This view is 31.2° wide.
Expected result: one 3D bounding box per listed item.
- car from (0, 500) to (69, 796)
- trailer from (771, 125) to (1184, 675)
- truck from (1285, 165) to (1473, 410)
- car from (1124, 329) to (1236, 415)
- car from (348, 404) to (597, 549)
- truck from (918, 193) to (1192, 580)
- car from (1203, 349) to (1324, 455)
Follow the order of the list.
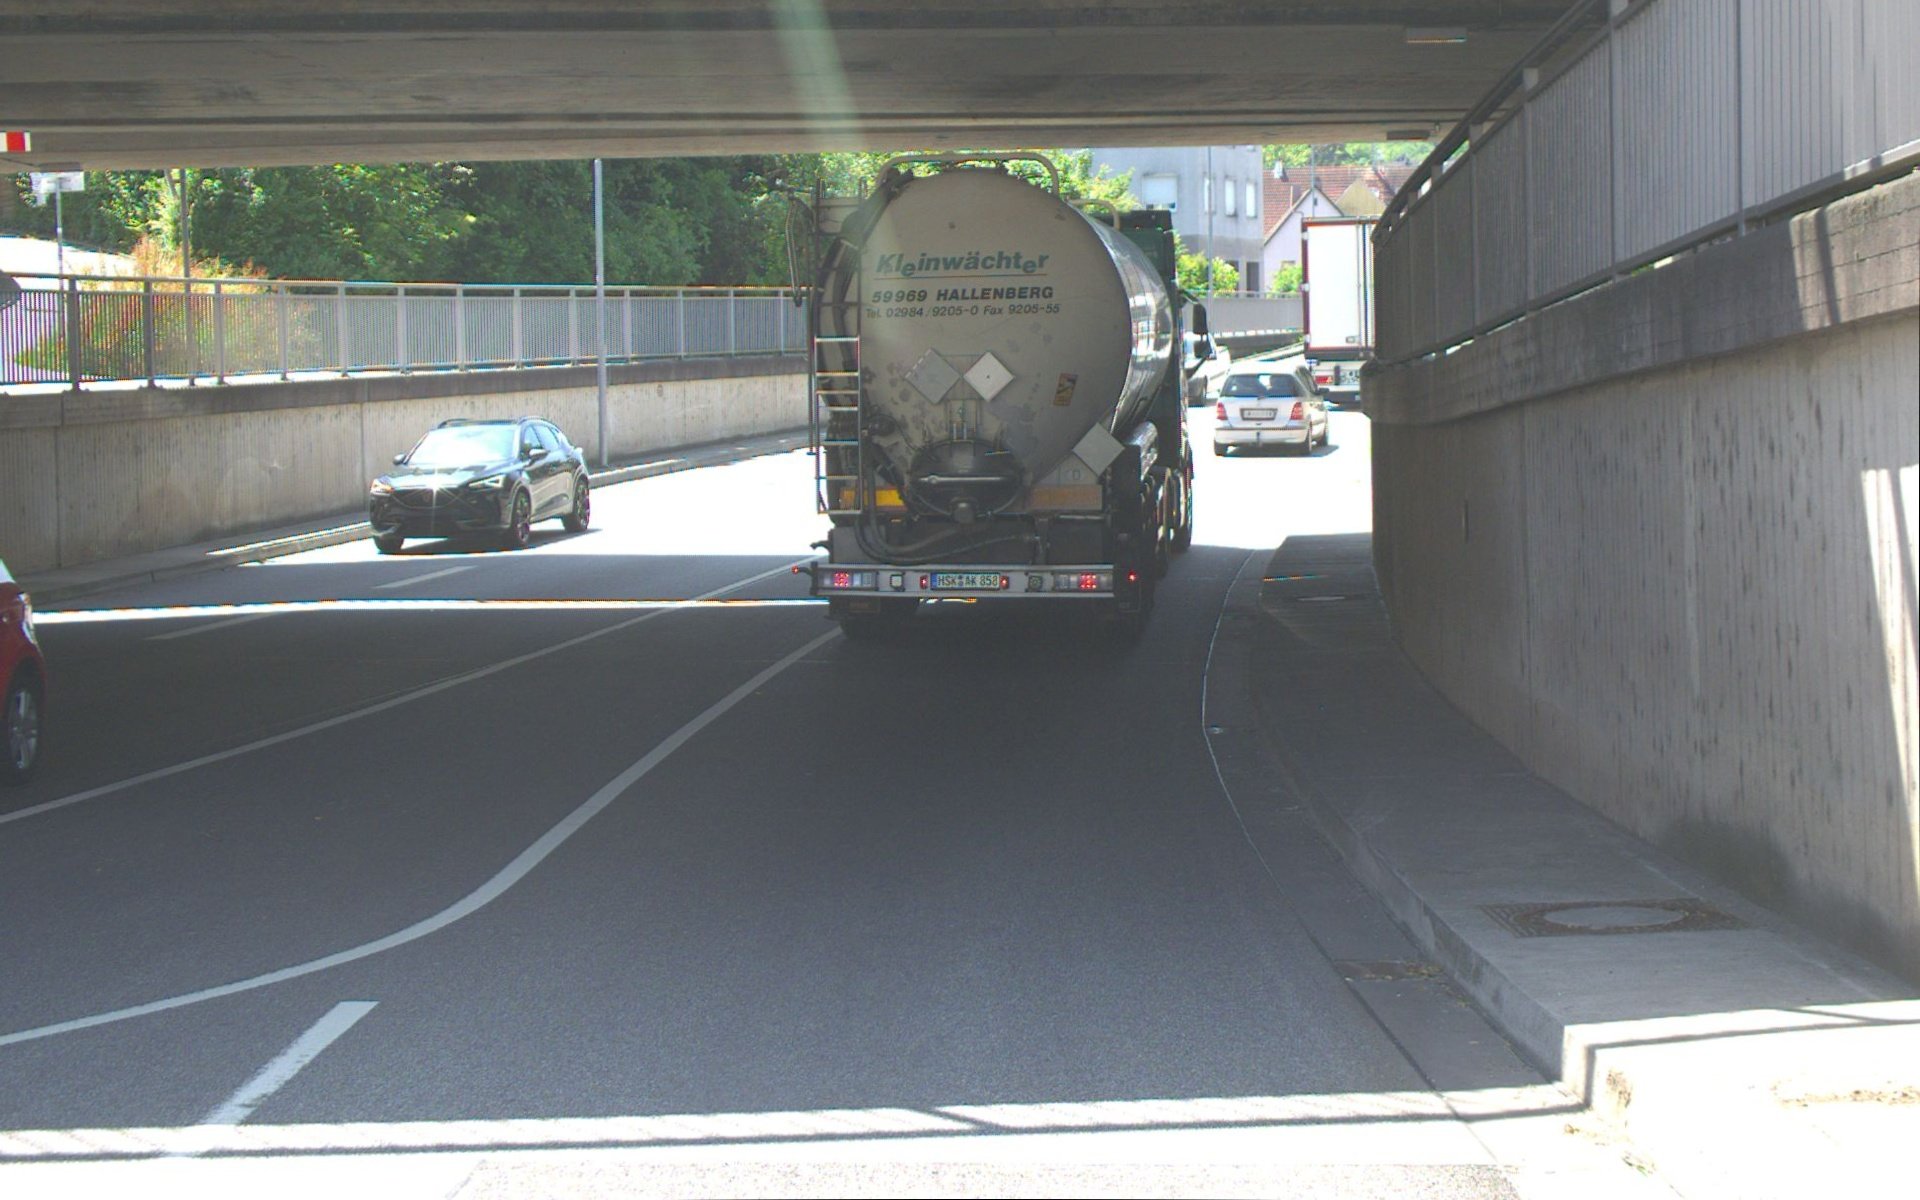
[{"bbox_3d":[-5.697,0.276,16.200,1.743,1.459,3.825,0,2,4],"label":"car"},{"bbox_3d":[0.550,-1.942,32.056,2.735,4.049,13.313,0,4,5],"label":"trailer"},{"bbox_3d":[9.308,-6.805,75.419,3.082,4.982,10.080,1,5,12],"label":"truck"},{"bbox_3d":[4.869,-5.043,75.761,1.793,1.677,3.999,2,7,13],"label":"car"},{"bbox_3d":[-5.966,-1.564,42.521,1.898,1.524,4.000,-2,5,9],"label":"car"},{"bbox_3d":[1.210,-2.465,39.396,2.735,4.049,6.529,0,4,5],"label":"truck"},{"bbox_3d":[5.291,-3.464,59.574,1.883,1.633,4.000,1,6,8],"label":"car"}]
